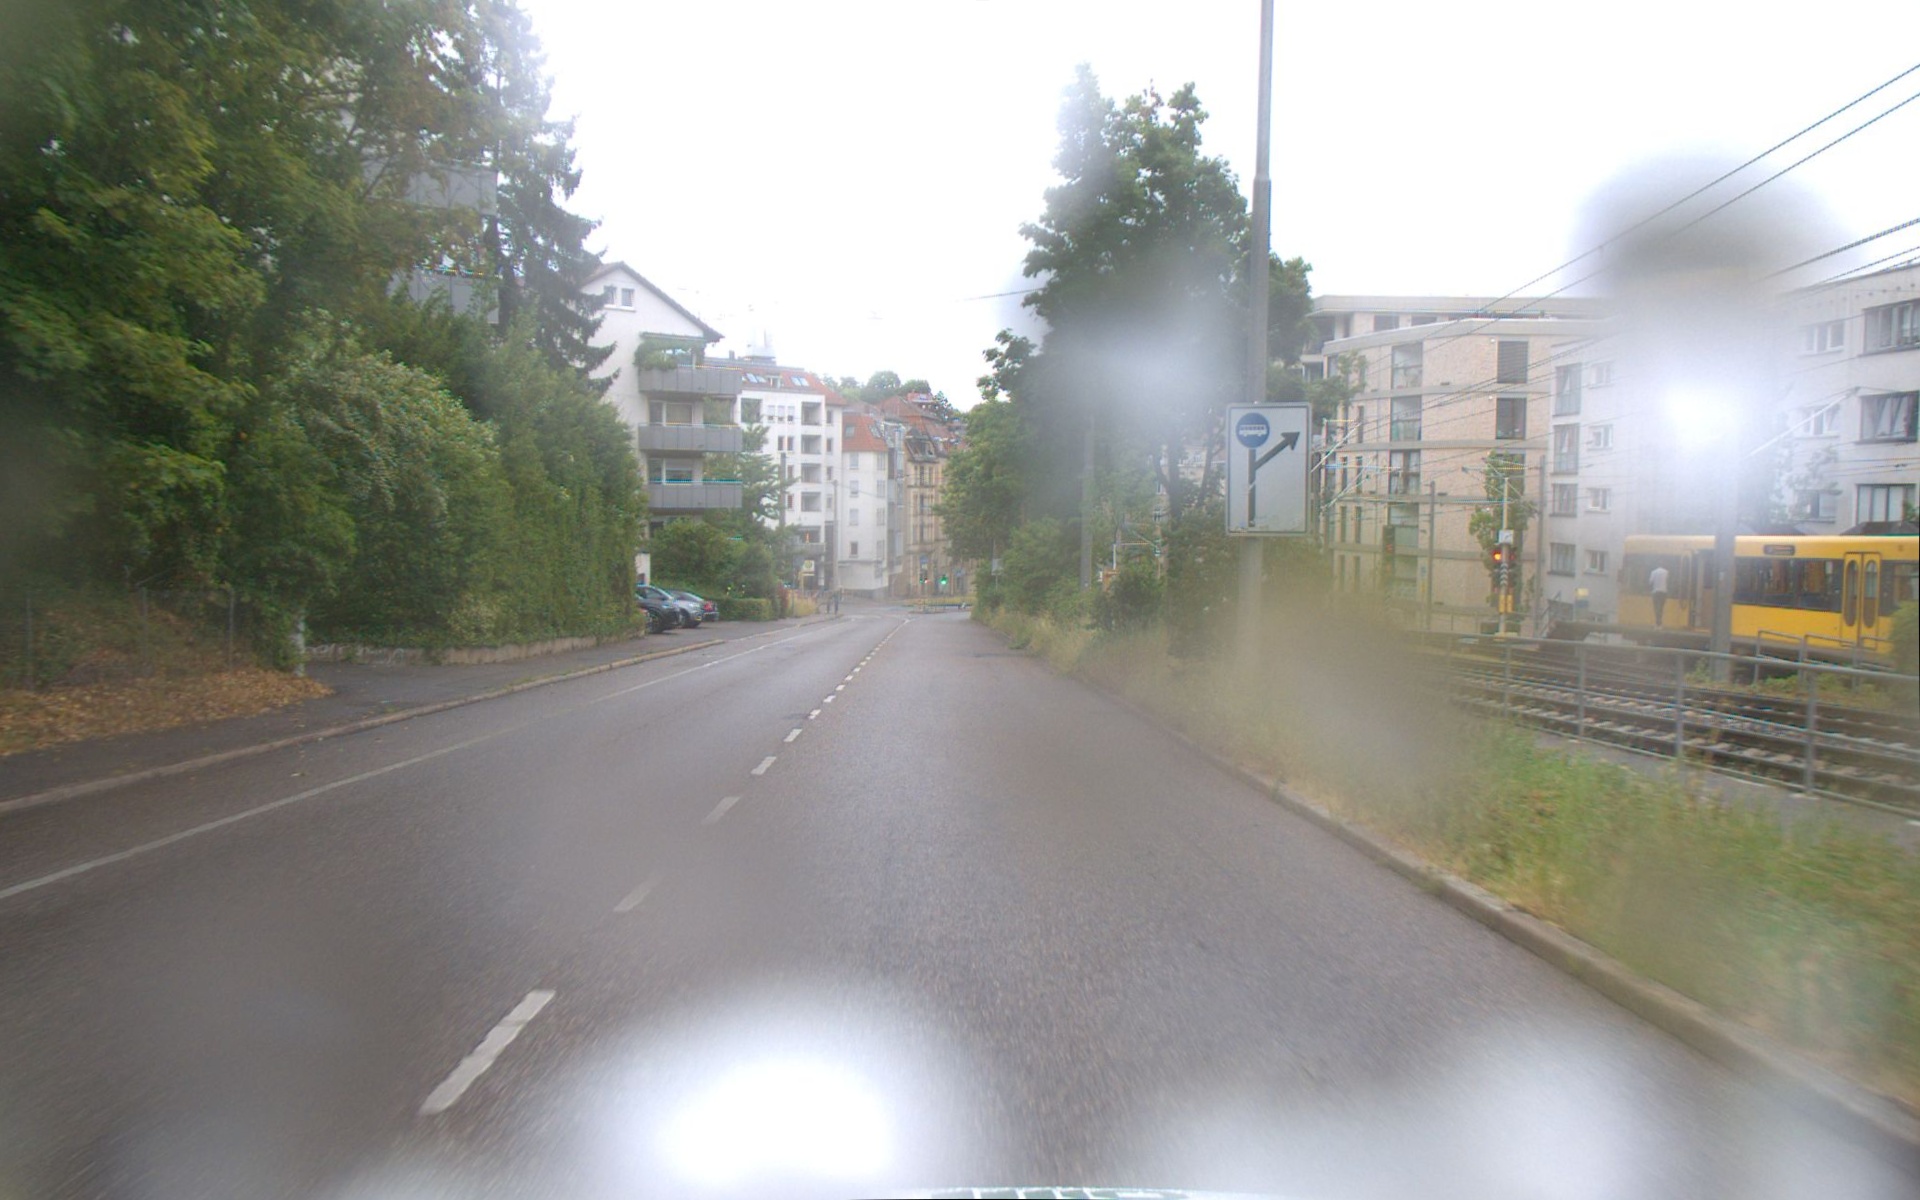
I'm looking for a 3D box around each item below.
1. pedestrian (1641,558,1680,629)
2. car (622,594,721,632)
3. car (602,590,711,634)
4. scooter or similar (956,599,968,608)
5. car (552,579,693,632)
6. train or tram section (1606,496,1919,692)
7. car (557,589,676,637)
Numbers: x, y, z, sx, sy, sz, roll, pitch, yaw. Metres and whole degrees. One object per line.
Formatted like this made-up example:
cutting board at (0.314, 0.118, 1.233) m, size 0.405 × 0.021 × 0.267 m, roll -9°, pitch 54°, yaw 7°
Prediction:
pedestrian at (19.006, -0.170, 44.891) m, size 0.707 × 1.913 × 0.817 m, roll 1°, pitch -1°, yaw -1°
car at (-11.442, 0.521, 65.704) m, size 3.556 × 1.432 × 1.783 m, roll 1°, pitch -1°, yaw 0°
car at (-11.591, 0.460, 63.375) m, size 3.909 × 1.587 × 1.878 m, roll 1°, pitch -1°, yaw -6°
scooter or similar at (0.192, 0.297, 139.719) m, size 0.475 × 0.775 × 1.328 m, roll 0°, pitch 0°, yaw 26°
car at (-11.309, 0.174, 55.632) m, size 4.359 × 1.630 × 1.814 m, roll 1°, pitch 1°, yaw -2°
train or tram section at (21.229, -0.117, 40.253) m, size 3.263 × 4.016 × 18.808 m, roll 1°, pitch 0°, yaw -1°
car at (-10.938, 0.417, 52.840) m, size 3.563 × 1.430 × 1.714 m, roll 1°, pitch -1°, yaw -8°
